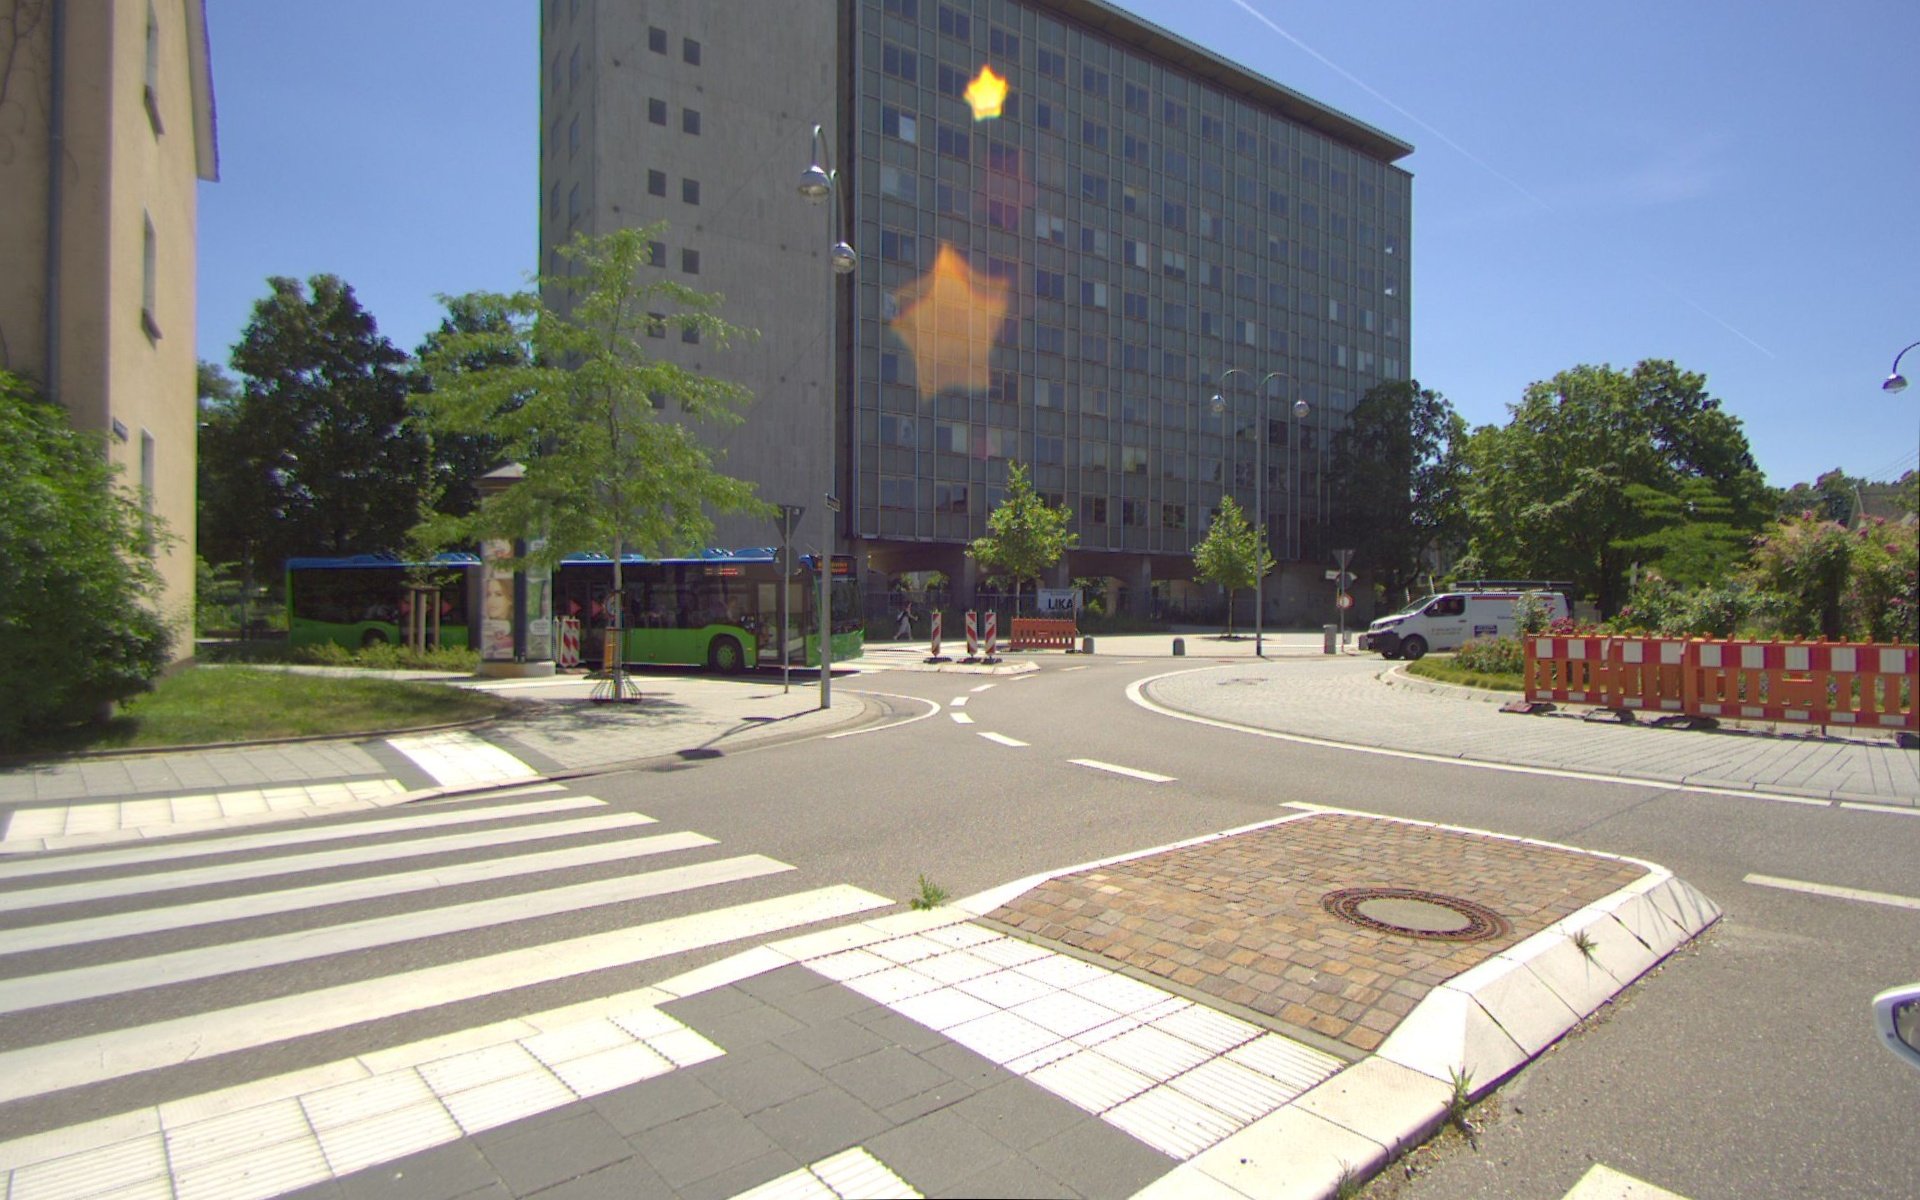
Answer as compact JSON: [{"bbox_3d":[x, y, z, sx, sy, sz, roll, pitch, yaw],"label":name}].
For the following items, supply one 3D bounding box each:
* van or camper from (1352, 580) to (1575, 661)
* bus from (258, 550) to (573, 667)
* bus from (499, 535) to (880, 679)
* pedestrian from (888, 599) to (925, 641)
[{"bbox_3d":[14.184,0.590,28.574,5.304,2.200,2.001,0,-2,3],"label":"van or camper"},{"bbox_3d":[-16.082,0.184,29.704,8.745,3.152,2.831,0,2,17],"label":"bus"},{"bbox_3d":[-7.237,0.093,26.604,9.887,3.369,2.963,0,2,21],"label":"bus"},{"bbox_3d":[-2.073,0.767,38.942,1.260,1.606,0.946,1,0,-15],"label":"pedestrian"}]
